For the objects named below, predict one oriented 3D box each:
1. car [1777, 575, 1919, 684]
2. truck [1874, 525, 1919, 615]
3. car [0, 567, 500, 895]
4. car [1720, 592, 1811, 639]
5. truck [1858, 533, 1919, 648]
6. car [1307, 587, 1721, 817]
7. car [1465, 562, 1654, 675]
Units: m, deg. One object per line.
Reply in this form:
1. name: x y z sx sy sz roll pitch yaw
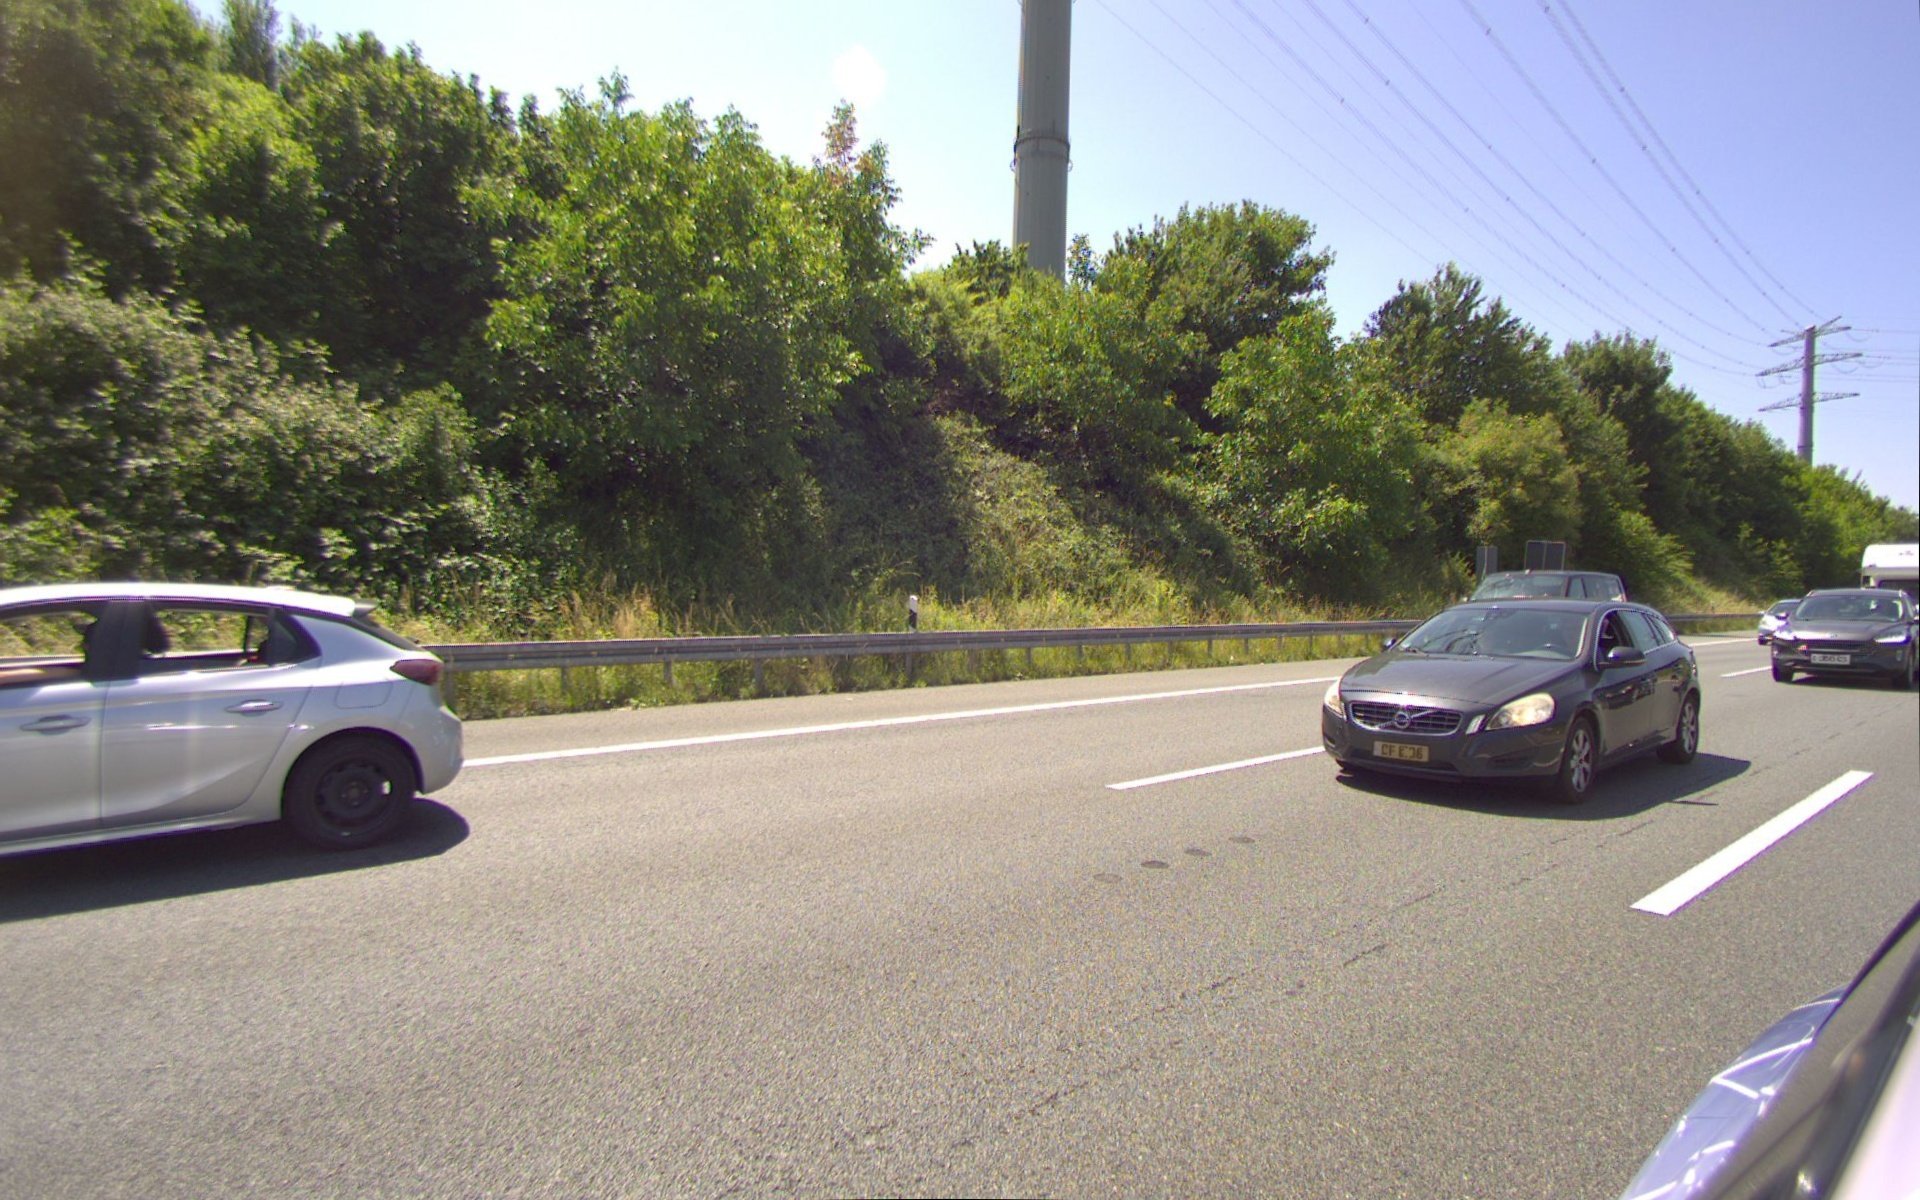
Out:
1. car: 16.218 0.451 18.072 4.308 1.724 1.890 0 1 -42
2. truck: 48.837 -1.426 51.012 11.456 4.204 2.654 0 0 -41
3. car: -4.775 0.582 5.369 3.943 1.488 1.744 0 1 -40
4. car: 26.704 0.475 33.501 3.667 1.455 1.798 0 1 -42
5. truck: 29.178 -0.283 29.924 9.721 3.053 2.513 0 0 -40
6. car: 4.797 0.626 8.498 4.158 1.455 1.798 0 1 -42
7. car: 11.643 0.302 19.517 4.616 1.928 1.787 0 0 -41
